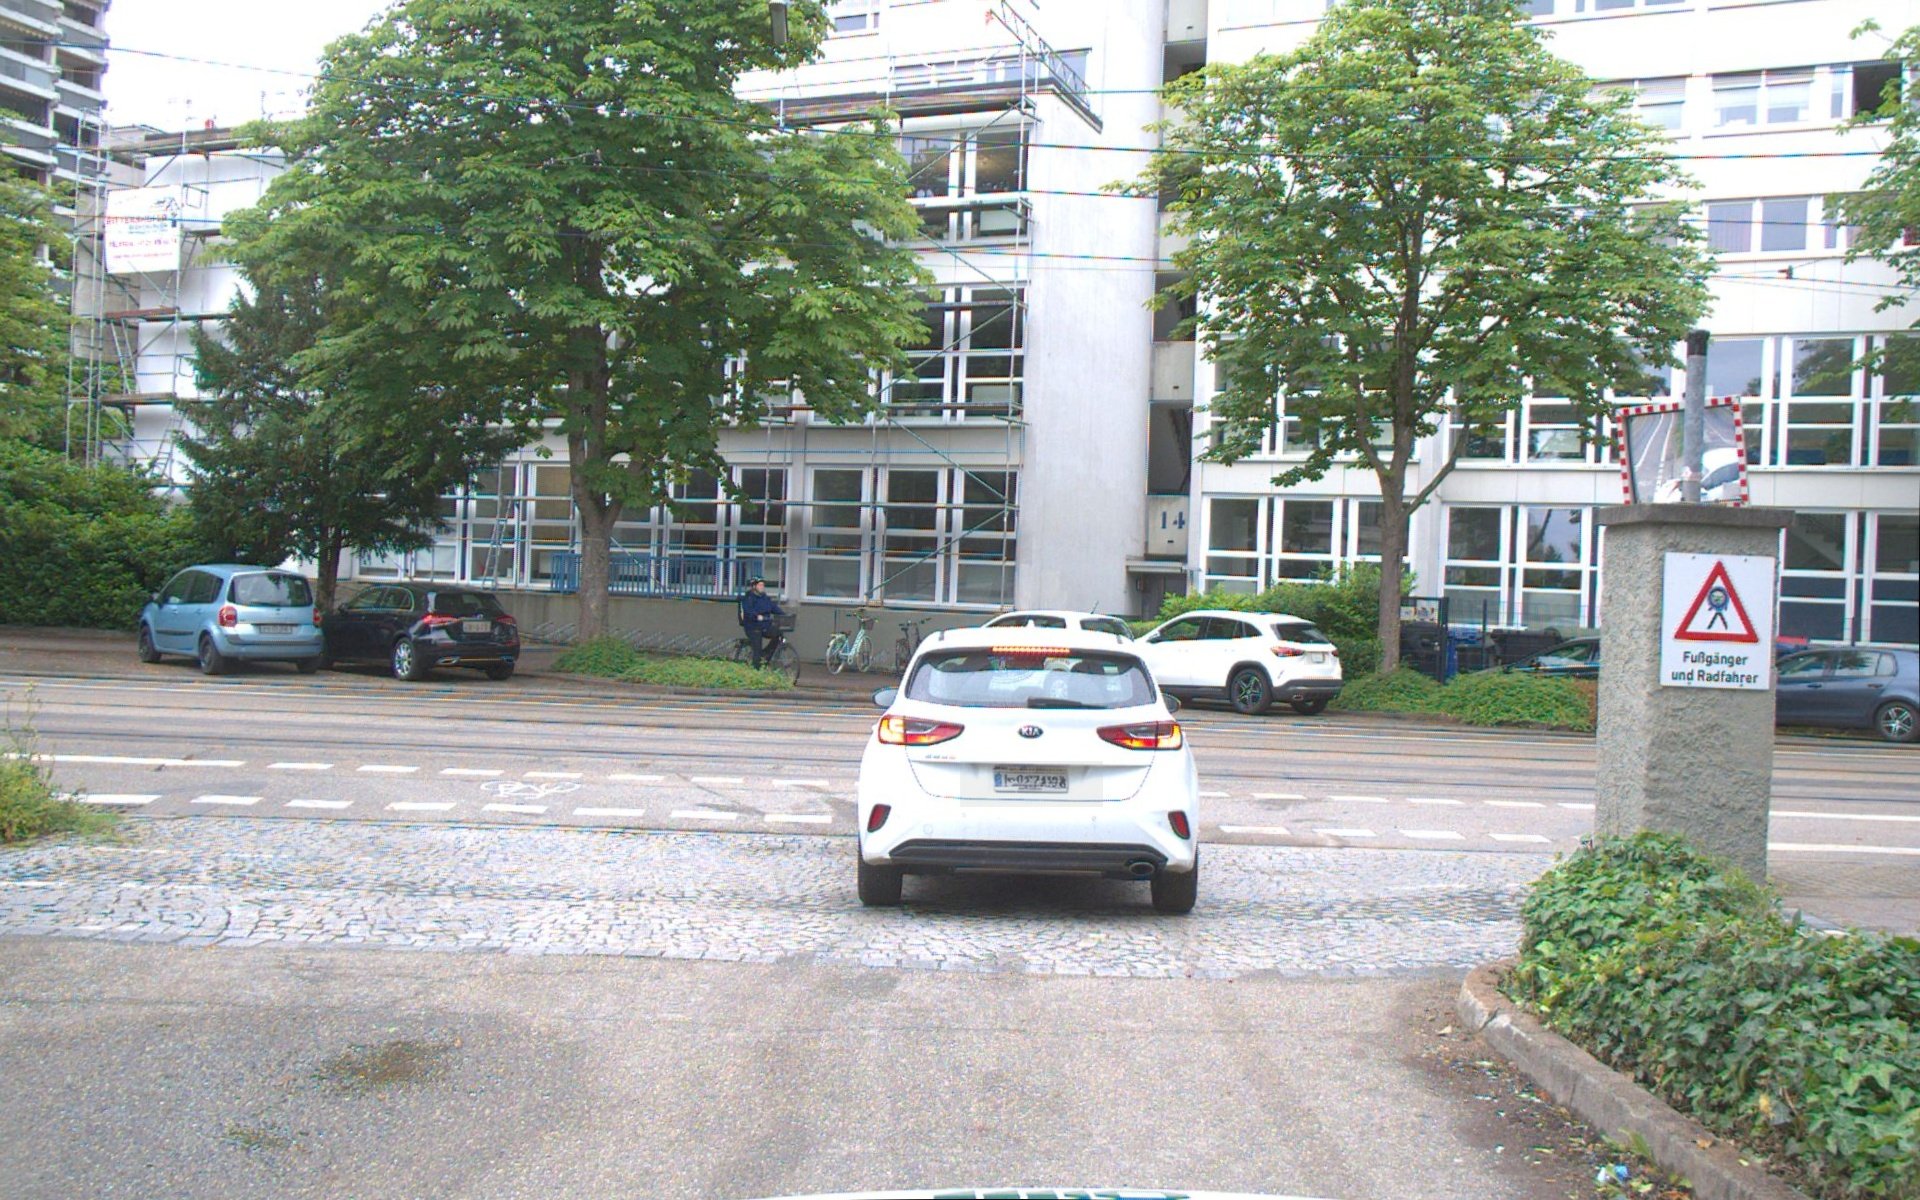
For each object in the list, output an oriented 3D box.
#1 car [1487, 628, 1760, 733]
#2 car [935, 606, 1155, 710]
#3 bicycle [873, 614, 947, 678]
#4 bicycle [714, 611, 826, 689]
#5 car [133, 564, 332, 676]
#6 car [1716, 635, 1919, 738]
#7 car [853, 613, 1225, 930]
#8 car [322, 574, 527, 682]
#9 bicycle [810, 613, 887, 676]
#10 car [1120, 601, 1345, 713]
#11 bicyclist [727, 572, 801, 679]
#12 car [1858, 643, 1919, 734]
[{"bbox_3d":[10.926,1.275,27.359,3.881,1.499,1.665,1,0,40],"label":"car"},{"bbox_3d":[1.304,0.884,26.359,1.545,1.499,3.353,2,-1,-44],"label":"car"},{"bbox_3d":[-0.942,0.875,32.059,0.631,1.093,2.313,2,2,19],"label":"bicycle"},{"bbox_3d":[-3.178,0.813,27.563,1.883,1.194,0.816,2,0,45],"label":"bicycle"},{"bbox_3d":[-11.208,0.283,25.404,3.279,1.564,1.608,2,0,43],"label":"car"},{"bbox_3d":[14.311,1.370,26.972,3.332,1.499,1.407,1,-1,44],"label":"car"},{"bbox_3d":[0.463,0.892,9.839,1.738,1.458,3.979,1,-2,2],"label":"car"},{"bbox_3d":[-8.309,0.406,25.567,3.279,1.537,1.608,1,-1,43],"label":"car"},{"bbox_3d":[-2.168,0.845,32.537,0.631,1.093,2.313,2,2,19],"label":"bicycle"},{"bbox_3d":[4.385,0.883,26.868,1.545,1.646,3.353,2,-1,-44],"label":"car"},{"bbox_3d":[-3.279,0.423,27.673,0.882,1.727,0.828,2,0,45],"label":"bicyclist"},{"bbox_3d":[17.189,1.531,27.908,3.332,1.499,1.407,1,-1,44],"label":"car"}]
